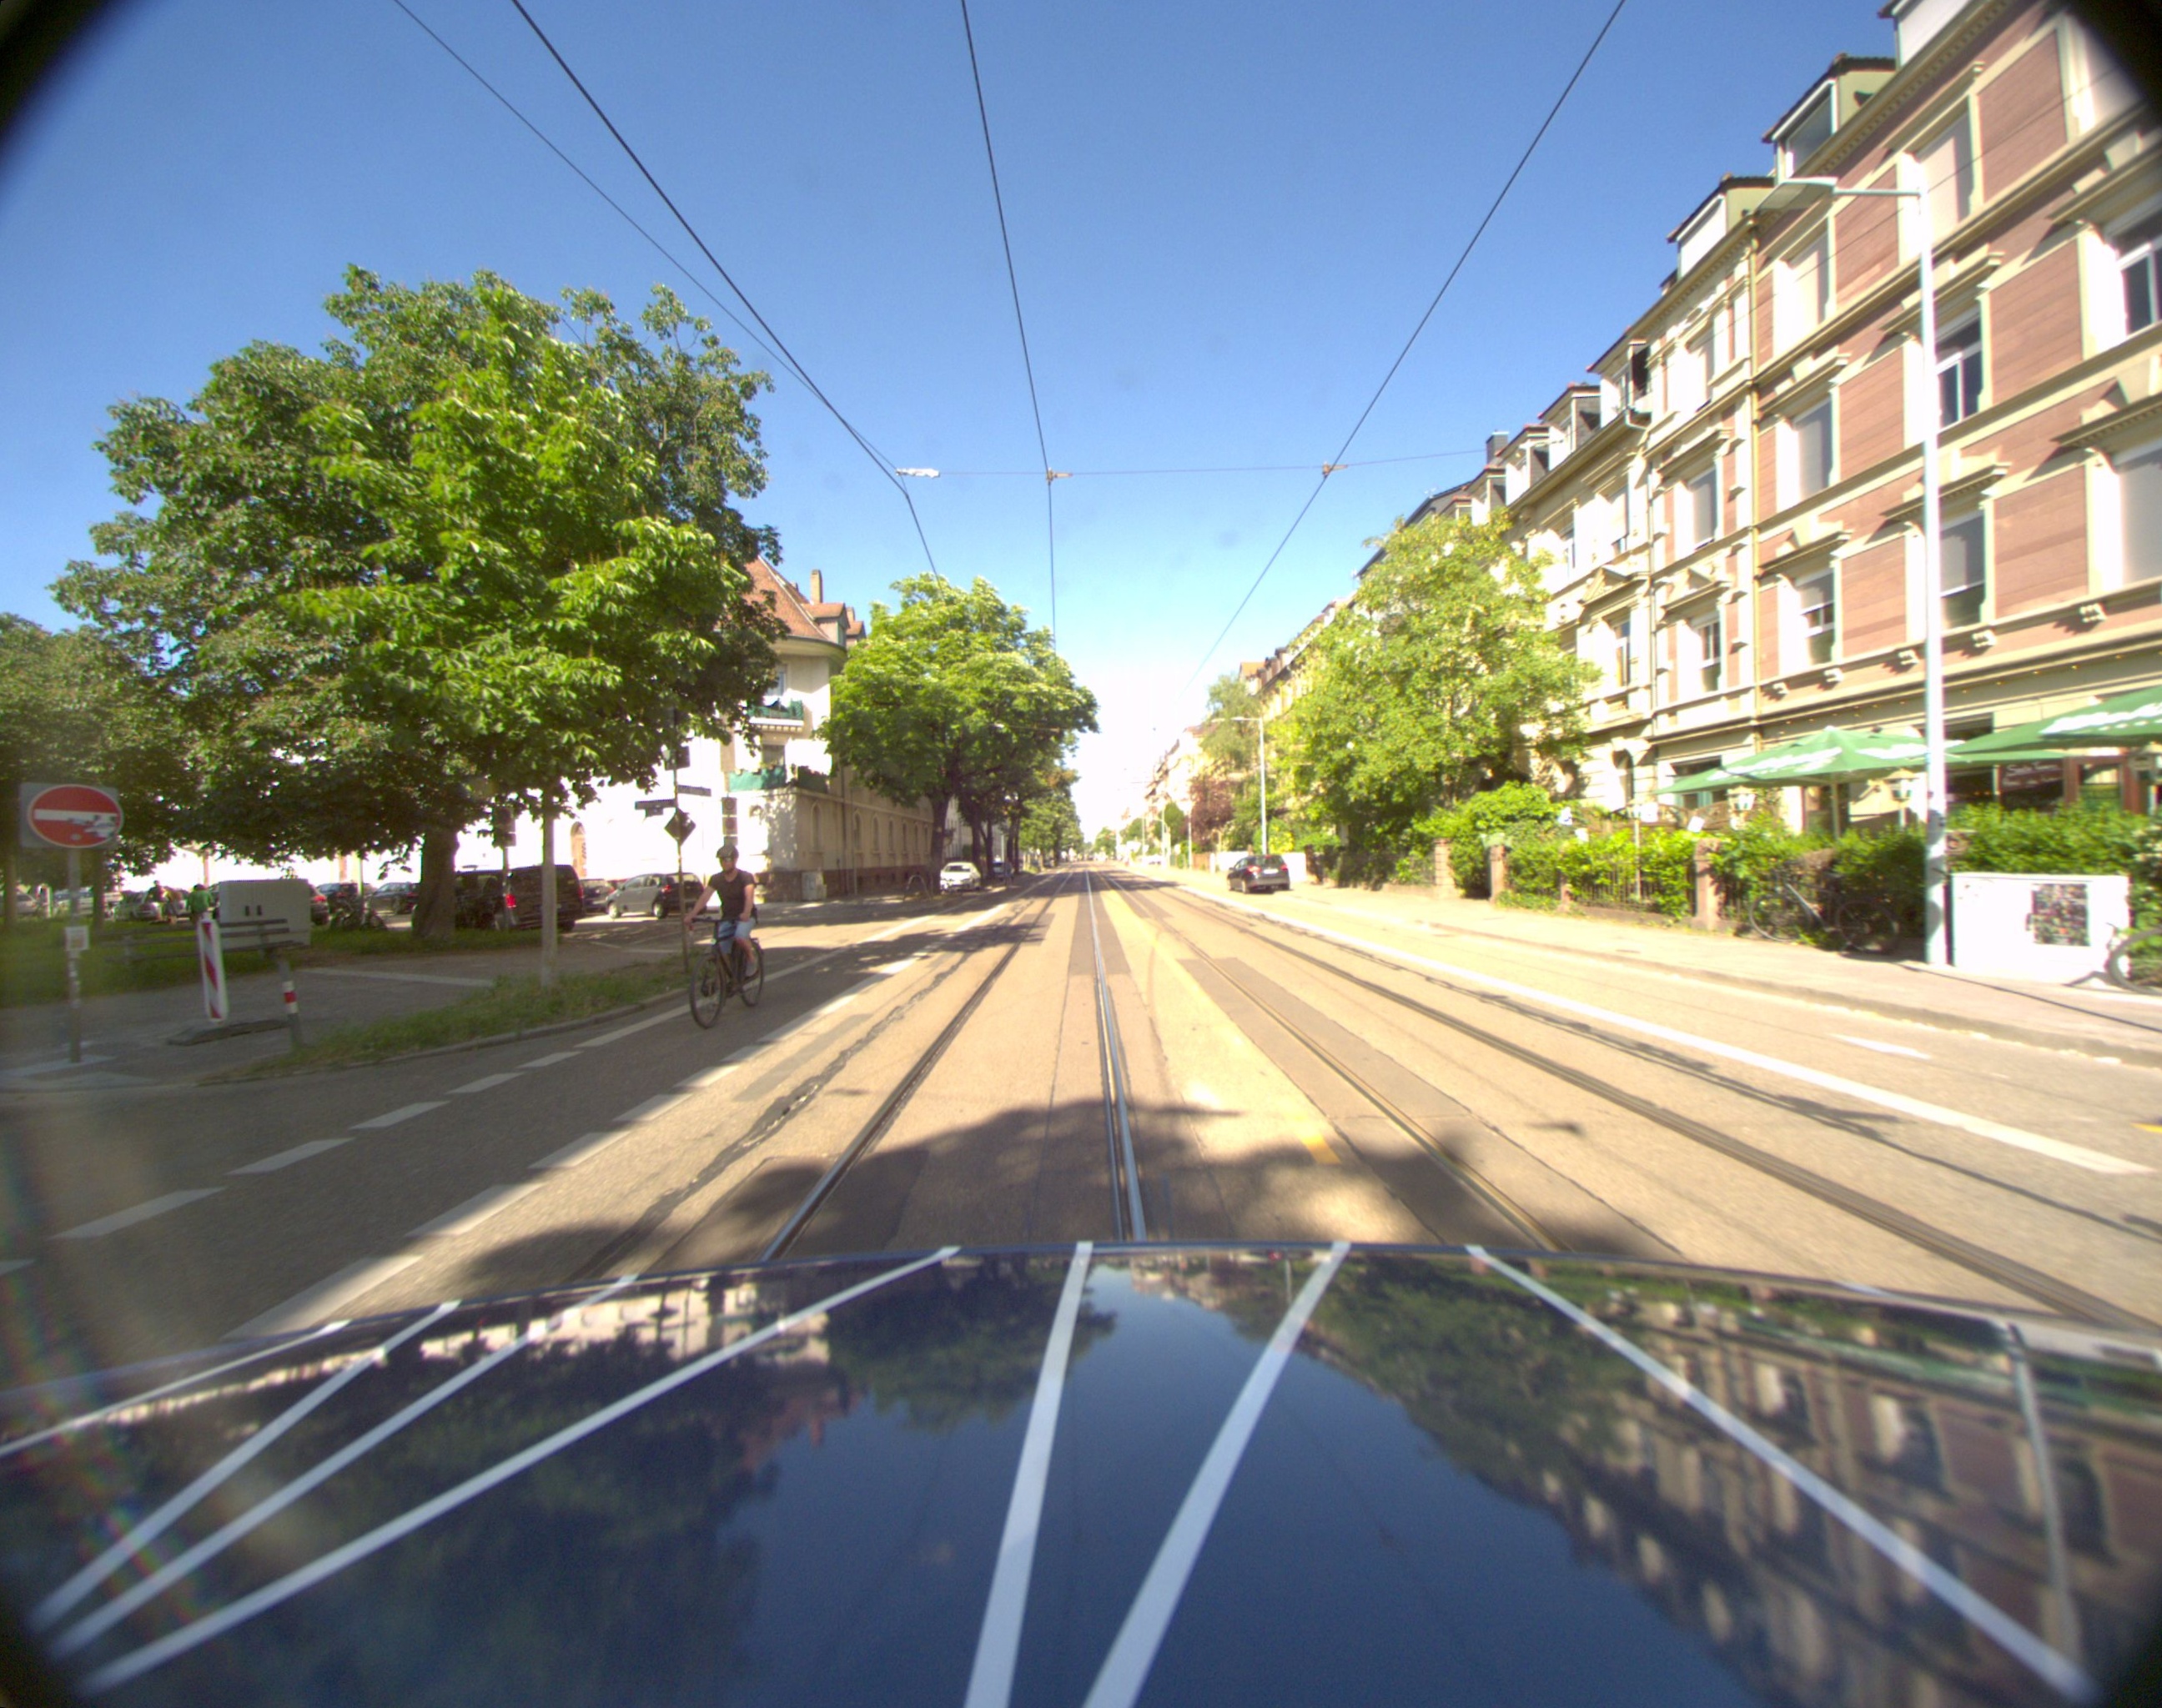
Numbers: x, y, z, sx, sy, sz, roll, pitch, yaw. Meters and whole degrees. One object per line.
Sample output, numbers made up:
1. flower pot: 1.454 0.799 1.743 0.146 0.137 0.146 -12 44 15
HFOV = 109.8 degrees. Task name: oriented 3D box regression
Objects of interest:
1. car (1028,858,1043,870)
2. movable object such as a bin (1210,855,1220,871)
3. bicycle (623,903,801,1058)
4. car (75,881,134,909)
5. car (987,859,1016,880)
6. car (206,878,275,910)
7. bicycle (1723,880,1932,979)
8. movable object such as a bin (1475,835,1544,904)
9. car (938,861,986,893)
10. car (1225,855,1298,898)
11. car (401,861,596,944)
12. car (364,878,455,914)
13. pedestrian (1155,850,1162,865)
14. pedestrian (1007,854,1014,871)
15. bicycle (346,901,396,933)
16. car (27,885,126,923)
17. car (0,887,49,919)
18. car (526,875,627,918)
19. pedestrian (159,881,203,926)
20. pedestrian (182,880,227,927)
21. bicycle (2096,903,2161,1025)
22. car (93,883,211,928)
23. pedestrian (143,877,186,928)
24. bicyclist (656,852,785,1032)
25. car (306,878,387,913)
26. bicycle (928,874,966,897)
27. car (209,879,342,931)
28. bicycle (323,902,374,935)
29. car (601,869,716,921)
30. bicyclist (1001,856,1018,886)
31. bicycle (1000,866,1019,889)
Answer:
1. car: -5.419 1.166 91.139 1.761 1.458 4.613 0 0 -2
2. movable object such as a bin: 10.336 0.703 58.809 0.590 1.169 0.665 -1 0 -4
3. bicycle: -3.722 1.210 7.923 0.763 1.235 2.096 -3 0 0
4. car: -69.221 2.893 53.853 4.032 1.709 1.785 -2 3 28
5. car: -5.885 1.126 56.574 1.824 1.475 4.748 0 0 -2
6. car: -47.259 2.239 42.721 3.847 1.664 1.642 -2 2 28
7. bicycle: 9.437 0.904 9.756 0.515 1.032 2.223 -2 0 1
8. movable object such as a bin: 11.369 0.395 20.208 1.287 1.721 1.043 -4 0 16
9. car: -5.917 1.114 38.177 1.705 1.463 4.214 0 0 1
10. car: 7.150 0.835 30.609 1.869 1.567 4.588 0 0 0
11. car: -15.581 1.237 20.290 5.054 1.880 2.003 -2 2 27
12. car: -29.521 1.829 33.381 3.952 1.408 1.642 -2 2 28
13. pedestrian: 9.443 0.377 92.762 0.809 1.825 0.754 -1 0 9
14. pedestrian: -8.758 1.066 93.968 0.743 2.002 0.687 -1 1 -8
15. bicycle: -17.955 1.580 19.213 1.379 0.773 0.420 -1 1 25
16. car: -49.958 2.460 37.775 5.054 1.621 2.003 -2 2 27
17. car: -61.804 2.809 43.699 5.054 1.621 2.003 -2 2 27
18. car: -18.410 1.516 27.717 3.351 1.390 1.575 -2 2 28
19. pedestrian: -32.529 1.786 27.467 0.572 1.559 0.845 -2 1 24
20. pedestrian: -30.383 1.720 26.343 0.572 1.559 0.845 -2 1 24
21. bicycle: 9.251 0.928 5.842 0.528 0.975 1.777 -1 0 1
22. car: -39.282 2.145 32.108 5.054 1.621 2.003 -2 2 27
23. pedestrian: -34.122 1.809 28.292 0.572 1.831 0.845 -1 1 25
24. bicyclist: -3.738 0.865 7.966 0.763 1.728 1.046 -3 0 0
25. car: -35.107 1.952 36.298 3.759 1.491 1.642 -2 2 28
26. bicycle: -5.800 1.369 32.961 1.570 0.974 0.640 0 0 -8
27. car: -28.846 1.786 27.198 4.608 1.601 1.938 -2 2 27
28. bicycle: -18.129 1.592 18.797 1.379 0.754 0.420 -1 1 25
29. car: -14.305 1.354 25.745 3.431 1.530 1.725 -2 3 28
30. bicyclist: -3.643 0.848 38.793 0.776 1.505 1.229 -2 0 -2
31. bicycle: -3.636 1.204 38.791 0.776 1.080 2.058 -2 0 -2
